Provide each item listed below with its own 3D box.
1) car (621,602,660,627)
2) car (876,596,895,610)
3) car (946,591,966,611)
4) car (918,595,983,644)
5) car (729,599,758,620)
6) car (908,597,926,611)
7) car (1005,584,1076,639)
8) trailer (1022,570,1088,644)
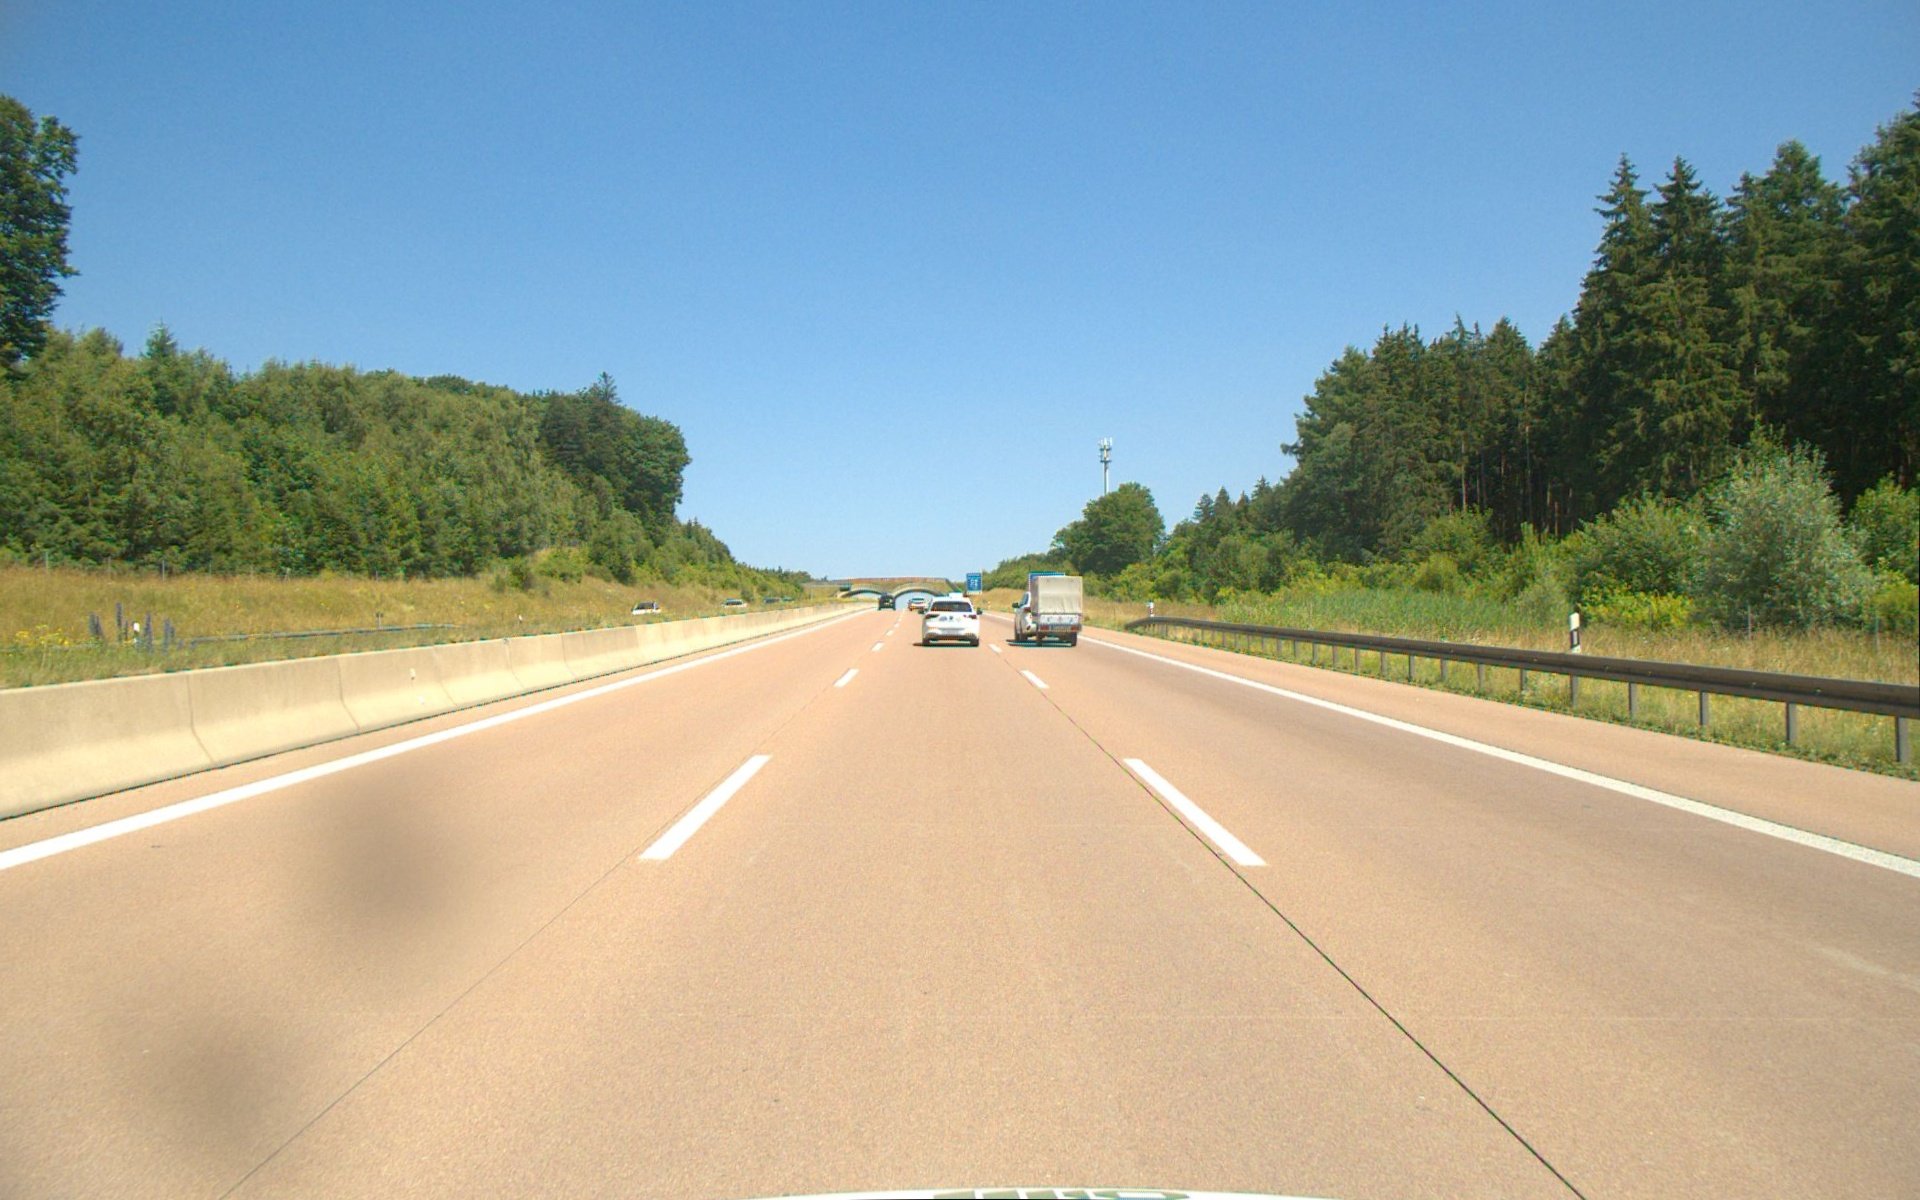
[{"bbox_3d":[-21.486,0.944,111.371,1.852,1.621,4.463,0,0,-1],"label":"car"},{"bbox_3d":[-7.995,0.304,178.006,1.852,1.489,4.000,0,0,0],"label":"car"},{"bbox_3d":[-0.446,0.082,172.850,2.067,2.090,4.000,0,0,0],"label":"car"},{"bbox_3d":[-0.337,0.568,50.483,1.853,1.422,3.998,1,0,-2],"label":"car"},{"bbox_3d":[-17.447,0.728,133.262,1.852,1.621,4.463,0,0,-1],"label":"car"},{"bbox_3d":[-4.446,0.402,170.562,1.852,1.489,3.999,1,0,-1],"label":"car"},{"bbox_3d":[2.663,0.365,55.546,1.853,1.758,5.183,0,0,-3],"label":"car"},{"bbox_3d":[2.901,0.219,51.005,1.624,2.202,4.014,0,0,-3],"label":"trailer"}]
